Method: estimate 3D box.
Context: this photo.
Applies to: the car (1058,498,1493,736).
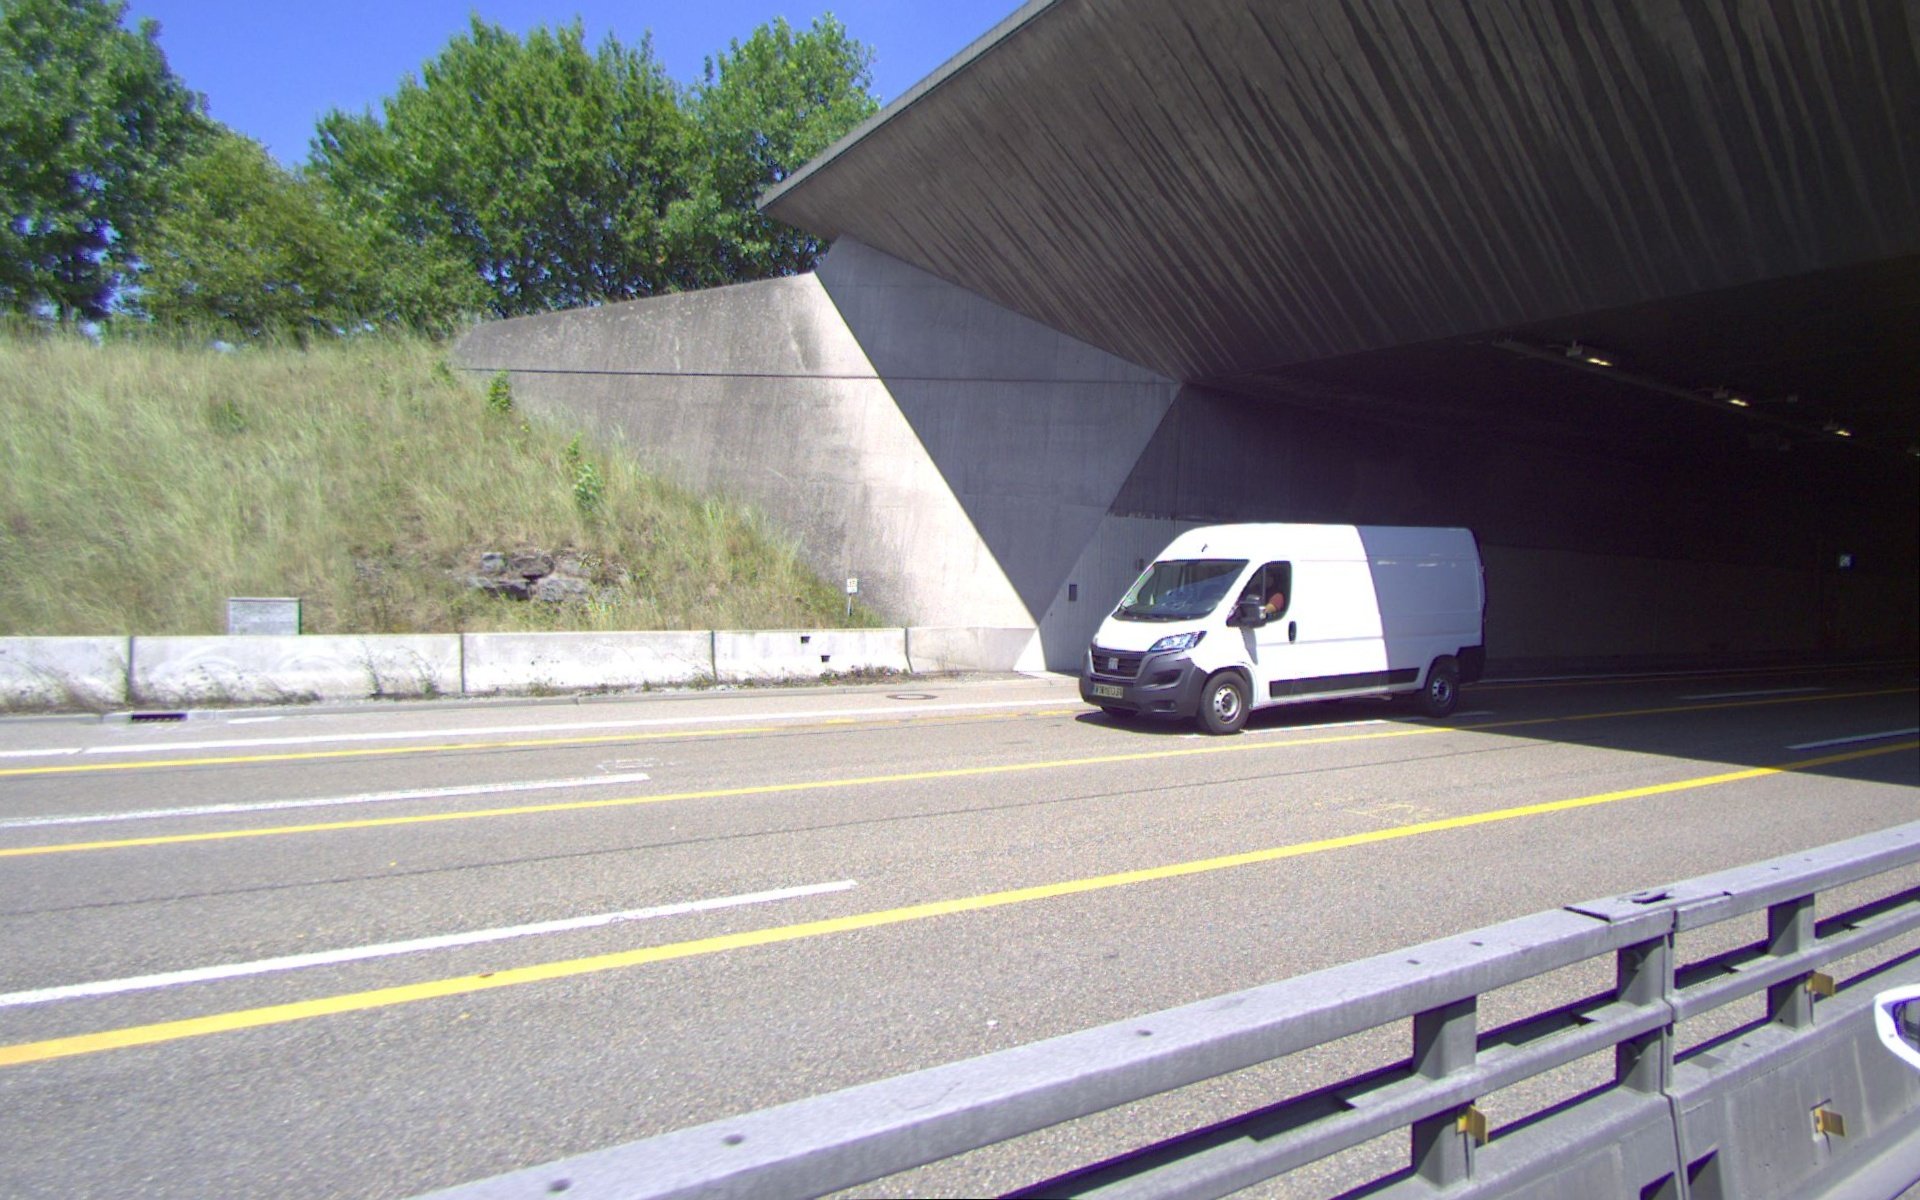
[{"bbox_3d":[4.276,0.210,13.171,5.971,2.548,1.984,1,0,-31],"label":"car"}]
